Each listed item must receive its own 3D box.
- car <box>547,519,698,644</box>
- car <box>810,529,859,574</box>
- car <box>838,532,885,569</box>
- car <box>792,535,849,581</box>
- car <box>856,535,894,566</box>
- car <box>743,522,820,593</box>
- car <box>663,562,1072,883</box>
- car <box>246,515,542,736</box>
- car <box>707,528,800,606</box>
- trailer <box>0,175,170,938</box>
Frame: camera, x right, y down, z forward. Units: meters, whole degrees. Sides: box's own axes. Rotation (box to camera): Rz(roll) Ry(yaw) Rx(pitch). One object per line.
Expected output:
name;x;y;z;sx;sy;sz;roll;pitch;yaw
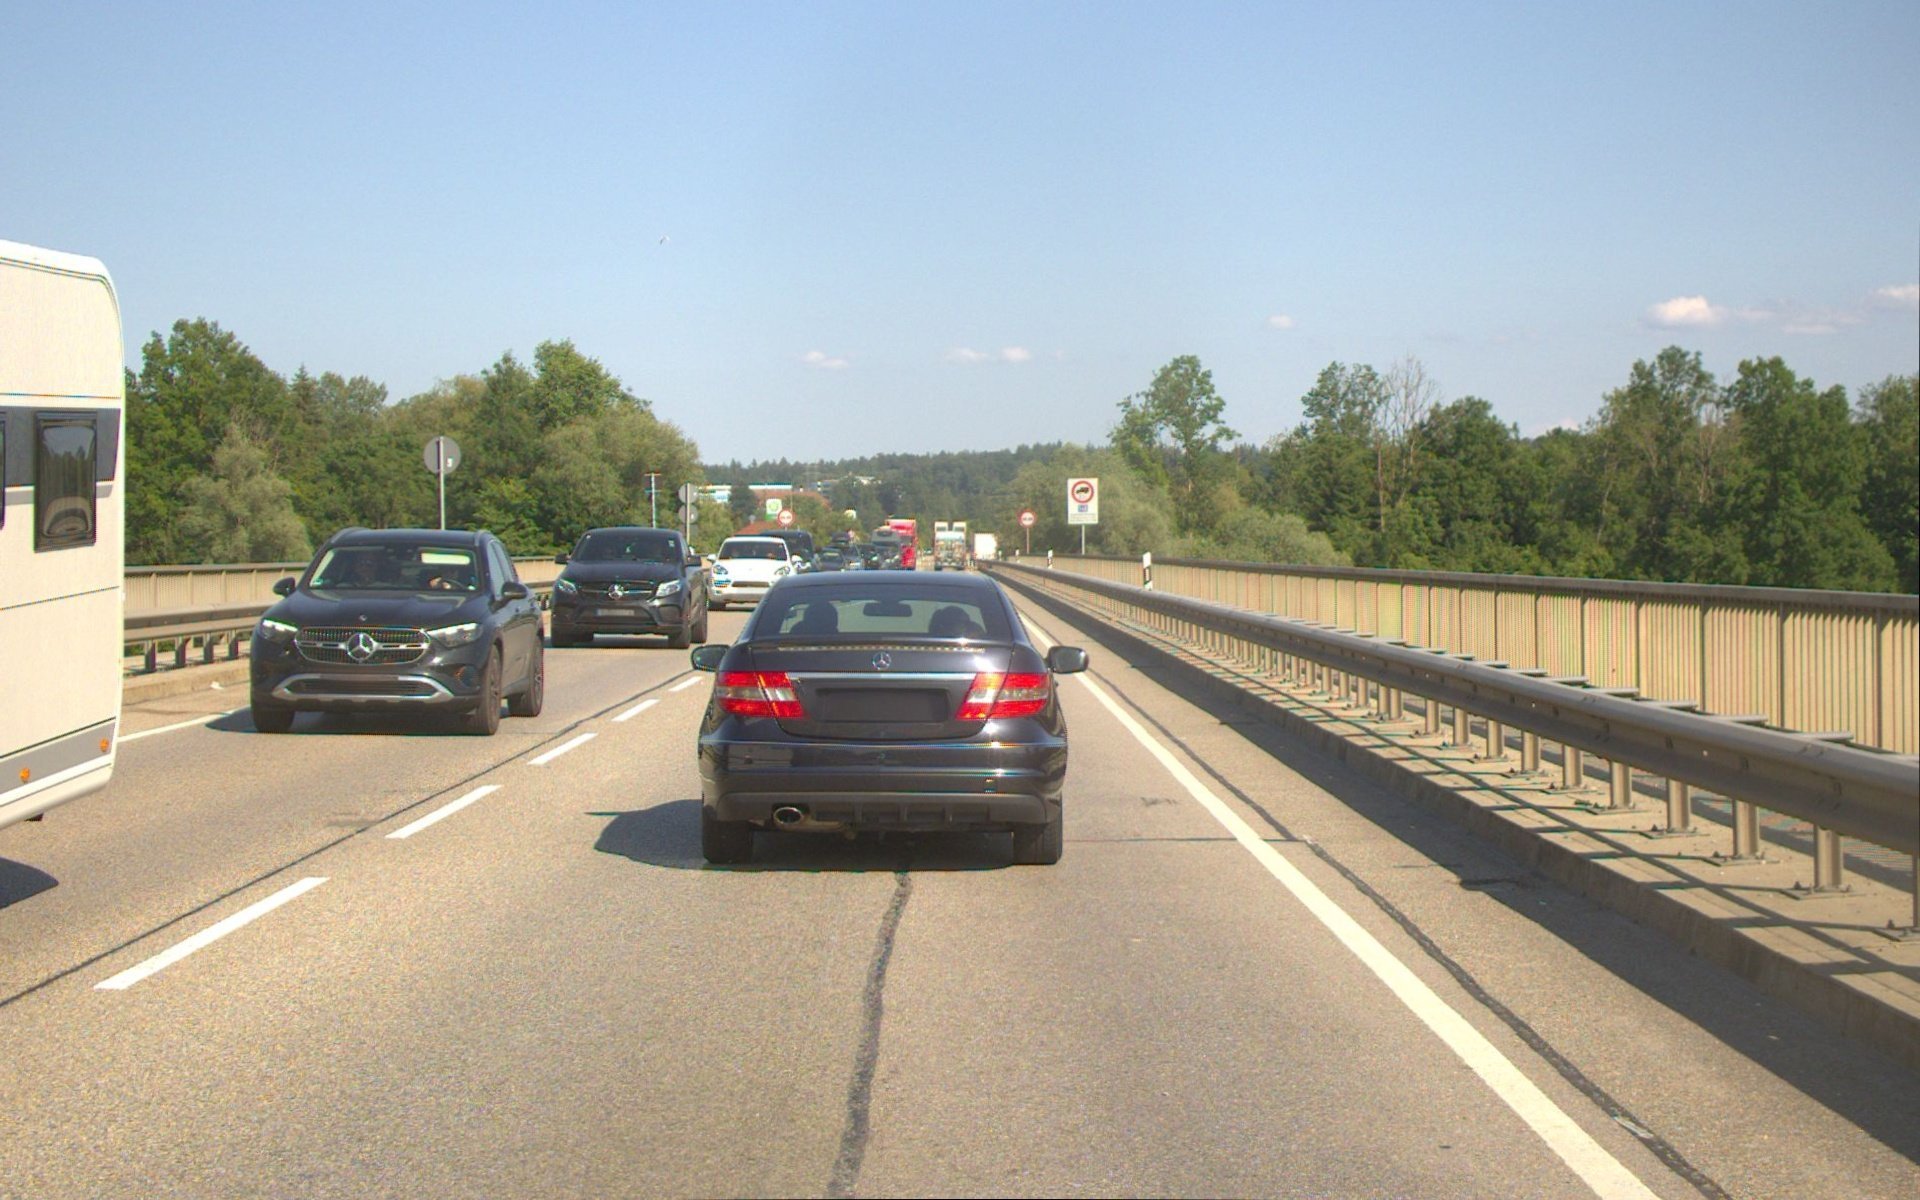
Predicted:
car;-4.833;-0.294;49.710;1.949;1.688;4.477;1;1;-3
car;-5.016;-1.966;138.378;1.854;1.716;4.566;1;1;-1
car;-4.770;-2.380;165.354;2.053;1.647;4.722;2;1;-4
car;-4.593;-1.401;112.576;1.765;1.442;4.457;1;1;-3
car;-4.479;-2.599;180.725;1.806;1.572;4.202;1;1;-4
car;-4.931;-1.180;94.923;2.037;1.867;5.070;1;1;-3
car;-0.408;0.518;17.168;1.793;1.371;4.000;1;1;0
car;-4.529;0.153;28.090;1.802;1.655;4.434;0;1;-2
car;-4.676;-0.773;77.997;1.983;1.645;4.598;2;1;-3
trailer;-4.718;-0.125;10.846;2.555;2.728;8.063;0;1;0
